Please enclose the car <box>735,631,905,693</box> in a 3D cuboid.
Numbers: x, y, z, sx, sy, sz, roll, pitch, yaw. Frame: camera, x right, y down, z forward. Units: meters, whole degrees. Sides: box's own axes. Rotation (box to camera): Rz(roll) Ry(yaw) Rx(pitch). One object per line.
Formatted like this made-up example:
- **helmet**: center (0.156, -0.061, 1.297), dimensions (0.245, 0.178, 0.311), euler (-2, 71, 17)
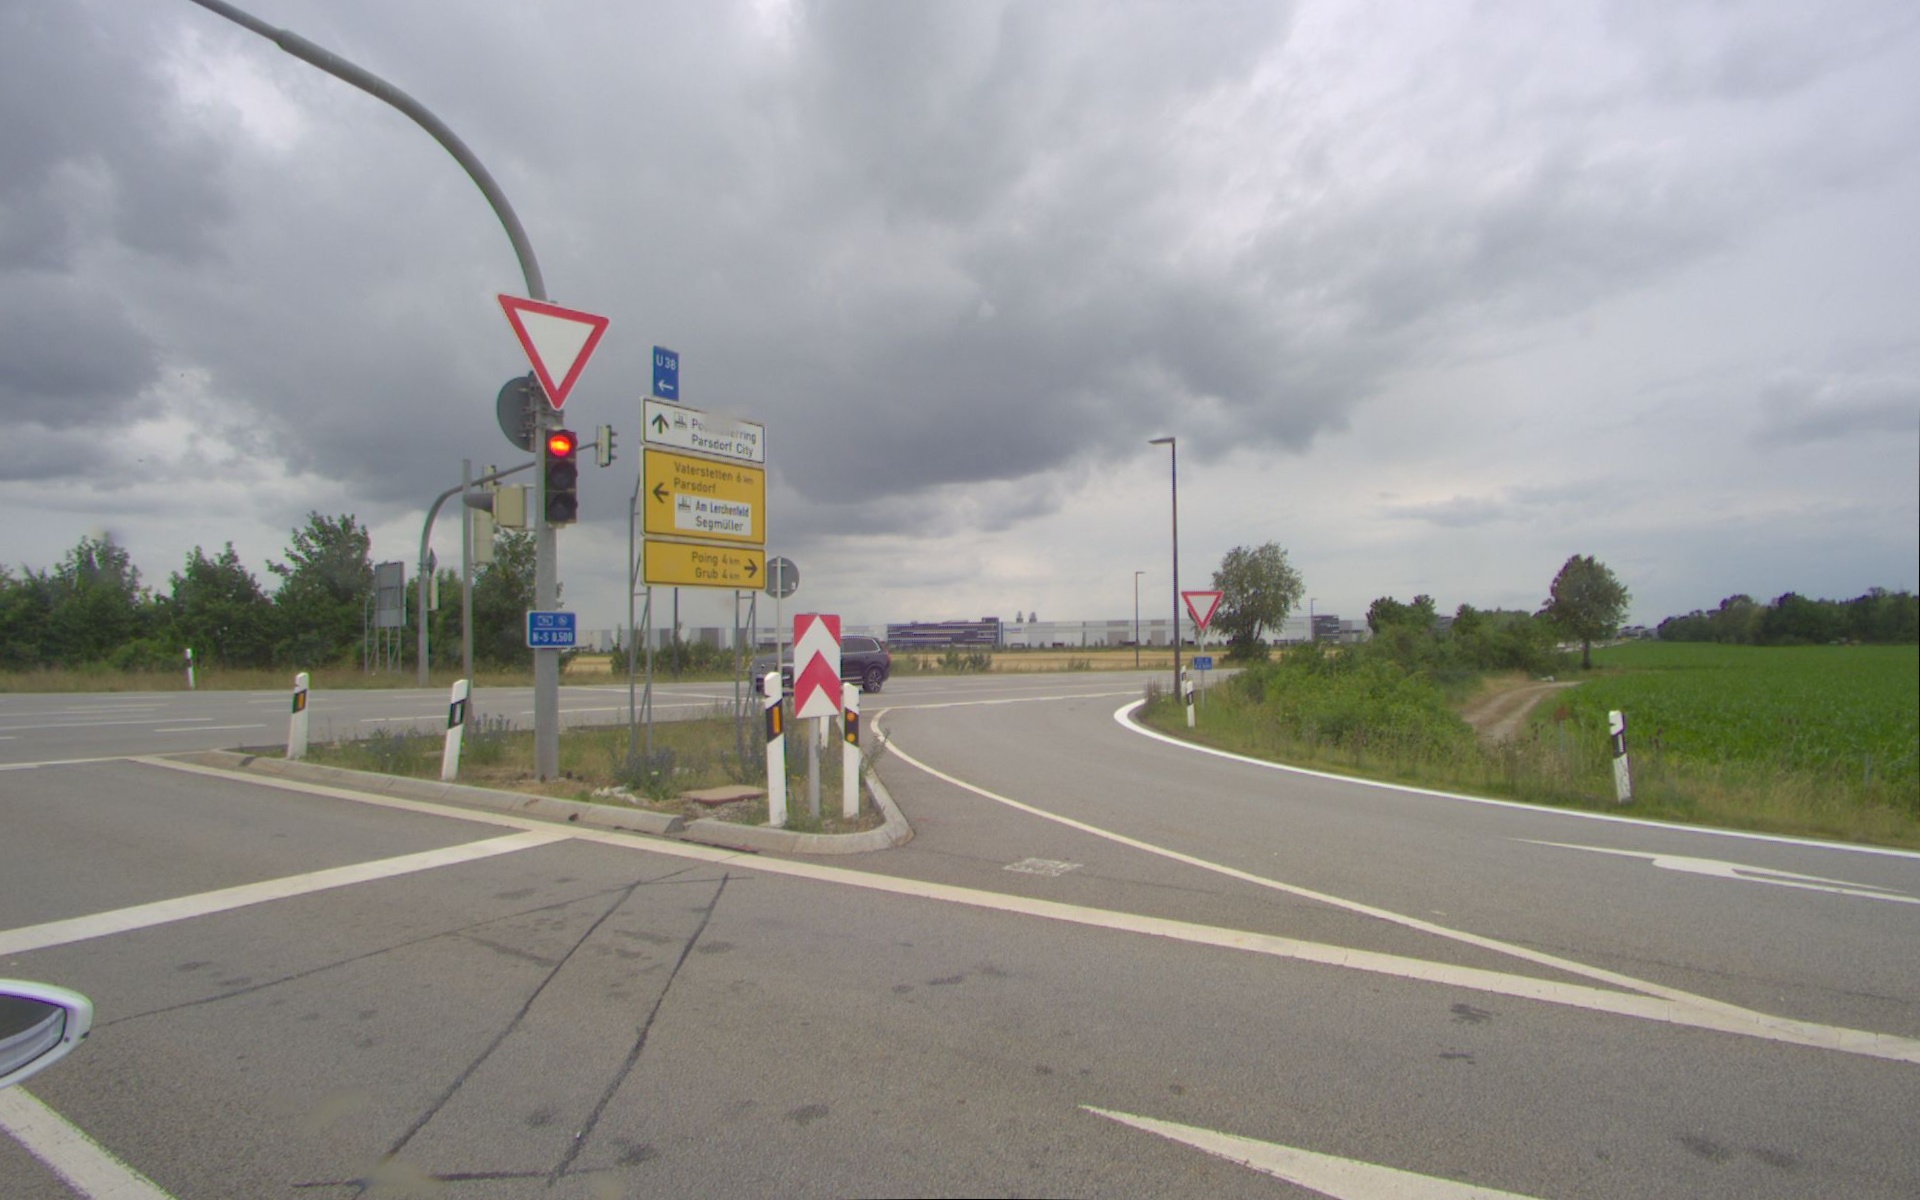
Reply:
- **car**: center (-4.058, 1.821, 29.815), dimensions (1.977, 1.705, 4.961), euler (-2, -3, 41)
